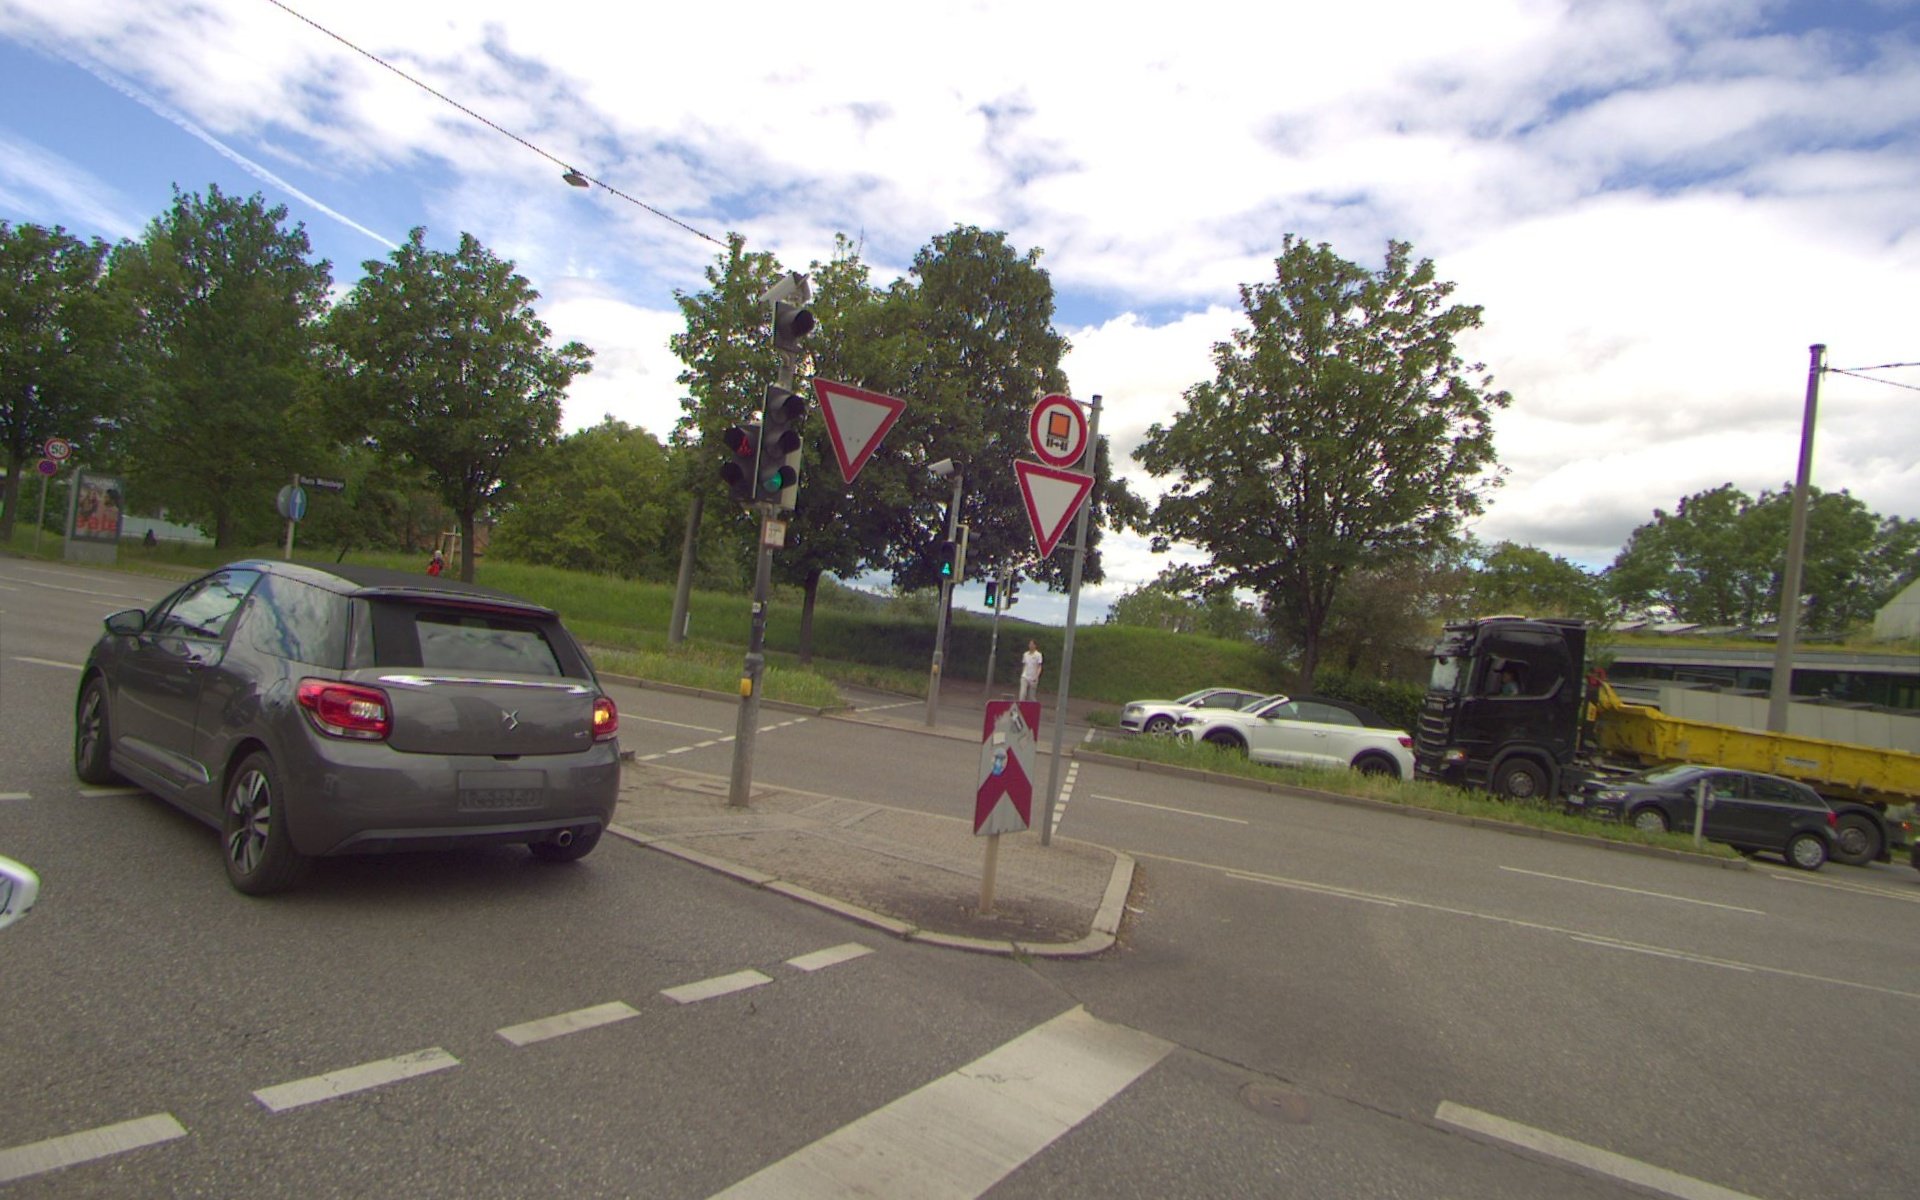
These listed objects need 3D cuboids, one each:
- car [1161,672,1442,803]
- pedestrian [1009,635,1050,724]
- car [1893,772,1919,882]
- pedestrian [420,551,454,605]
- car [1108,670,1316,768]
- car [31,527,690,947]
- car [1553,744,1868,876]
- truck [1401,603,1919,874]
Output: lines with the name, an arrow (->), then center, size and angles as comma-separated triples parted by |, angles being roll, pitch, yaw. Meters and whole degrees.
car -> 6.050, 2.420, 18.305 | 4.403, 1.547, 1.858 | 8, -1, 8
pedestrian -> 1.608, 1.822, 23.167 | 0.576, 1.941, 0.757 | 8, 1, 14
car -> 18.453, 4.164, 16.564 | 4.207, 1.817, 1.757 | 8, -1, 5
pedestrian -> -16.664, -0.696, 32.050 | 0.689, 1.627, 0.542 | 7, 5, 8
car -> 5.390, 2.547, 22.022 | 4.079, 1.459, 1.992 | 7, -2, 8
car -> -3.598, 0.534, 5.768 | 4.000, 1.478, 1.702 | 6, -2, 36
car -> 12.720, 3.538, 17.268 | 3.902, 1.390, 1.656 | 8, -2, 7
truck -> 14.443, 2.688, 20.431 | 9.278, 3.971, 2.832 | 7, -1, 7
